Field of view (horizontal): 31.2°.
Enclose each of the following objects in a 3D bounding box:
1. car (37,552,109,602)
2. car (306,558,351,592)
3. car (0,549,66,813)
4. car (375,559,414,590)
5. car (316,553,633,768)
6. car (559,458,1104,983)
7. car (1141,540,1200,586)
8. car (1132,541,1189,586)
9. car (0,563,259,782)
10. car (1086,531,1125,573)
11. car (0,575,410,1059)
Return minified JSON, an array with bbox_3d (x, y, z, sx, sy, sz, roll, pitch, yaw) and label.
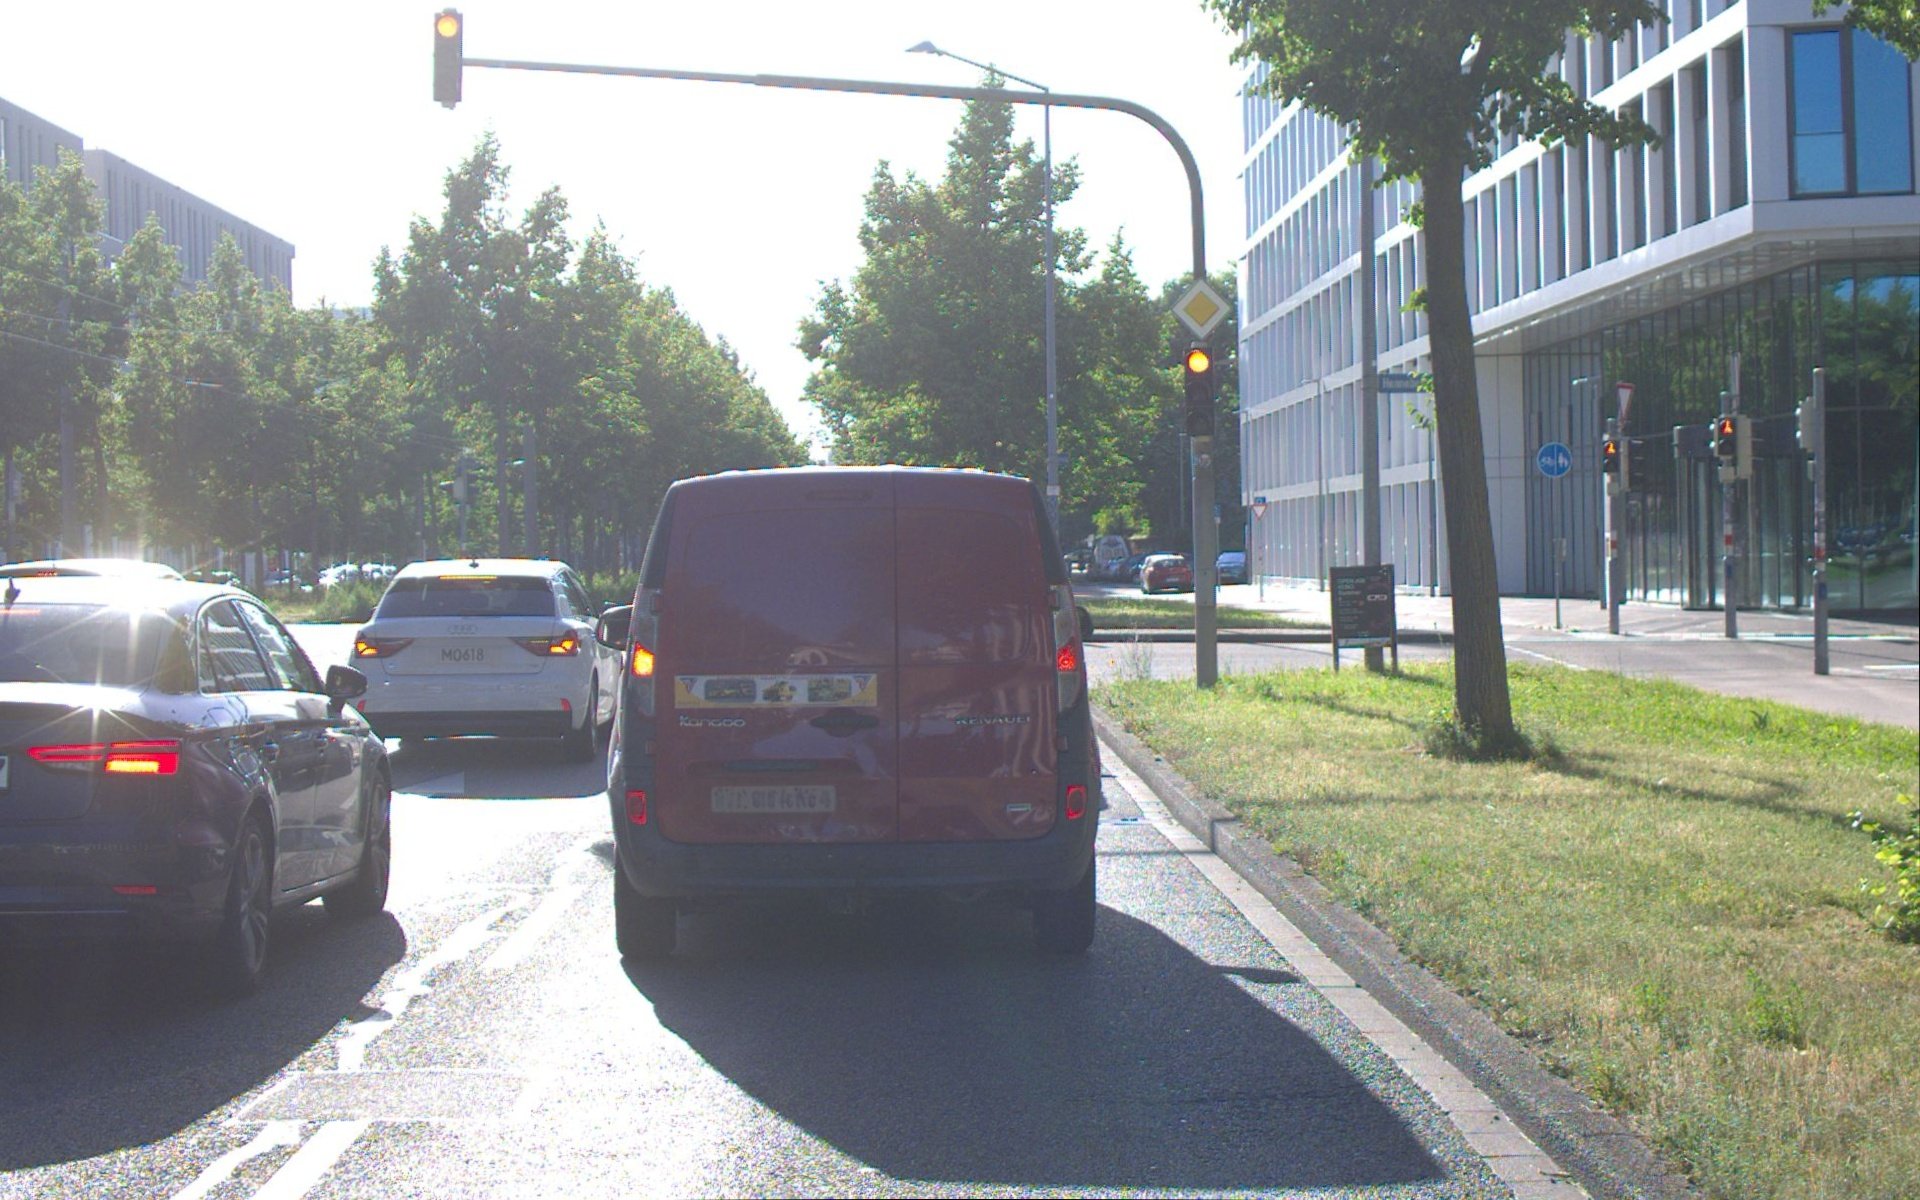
[{"bbox_3d":[-37.181,-0.993,144.244,1.993,2.007,4.000,-1,1,-1],"label":"car"},{"bbox_3d":[-38.027,-1.522,206.976,1.993,2.007,4.000,-1,1,-1],"label":"car"},{"bbox_3d":[-6.195,0.511,18.217,1.799,1.442,4.569,-3,1,-2],"label":"car"},{"bbox_3d":[-37.922,-1.714,230.618,1.993,2.007,4.000,-1,1,-1],"label":"car"},{"bbox_3d":[-3.486,0.384,25.319,1.803,1.421,3.901,-1,1,-1],"label":"car"},{"bbox_3d":[-0.468,0.382,13.821,1.842,1.774,4.000,-1,1,-1],"label":"car"},{"bbox_3d":[8.302,-1.470,135.702,1.993,1.776,4.000,-1,1,-1],"label":"car"},{"bbox_3d":[8.188,-1.513,140.711,1.993,1.776,4.000,-1,1,-1],"label":"car"},{"bbox_3d":[-6.705,0.491,26.670,1.799,1.478,4.569,2,1,-3],"label":"car"},{"bbox_3d":[8.705,-2.877,206.123,1.993,2.488,4.987,-1,1,-1],"label":"car"},{"bbox_3d":[-3.270,0.654,12.601,1.842,1.421,4.339,-1,1,-1],"label":"car"}]
